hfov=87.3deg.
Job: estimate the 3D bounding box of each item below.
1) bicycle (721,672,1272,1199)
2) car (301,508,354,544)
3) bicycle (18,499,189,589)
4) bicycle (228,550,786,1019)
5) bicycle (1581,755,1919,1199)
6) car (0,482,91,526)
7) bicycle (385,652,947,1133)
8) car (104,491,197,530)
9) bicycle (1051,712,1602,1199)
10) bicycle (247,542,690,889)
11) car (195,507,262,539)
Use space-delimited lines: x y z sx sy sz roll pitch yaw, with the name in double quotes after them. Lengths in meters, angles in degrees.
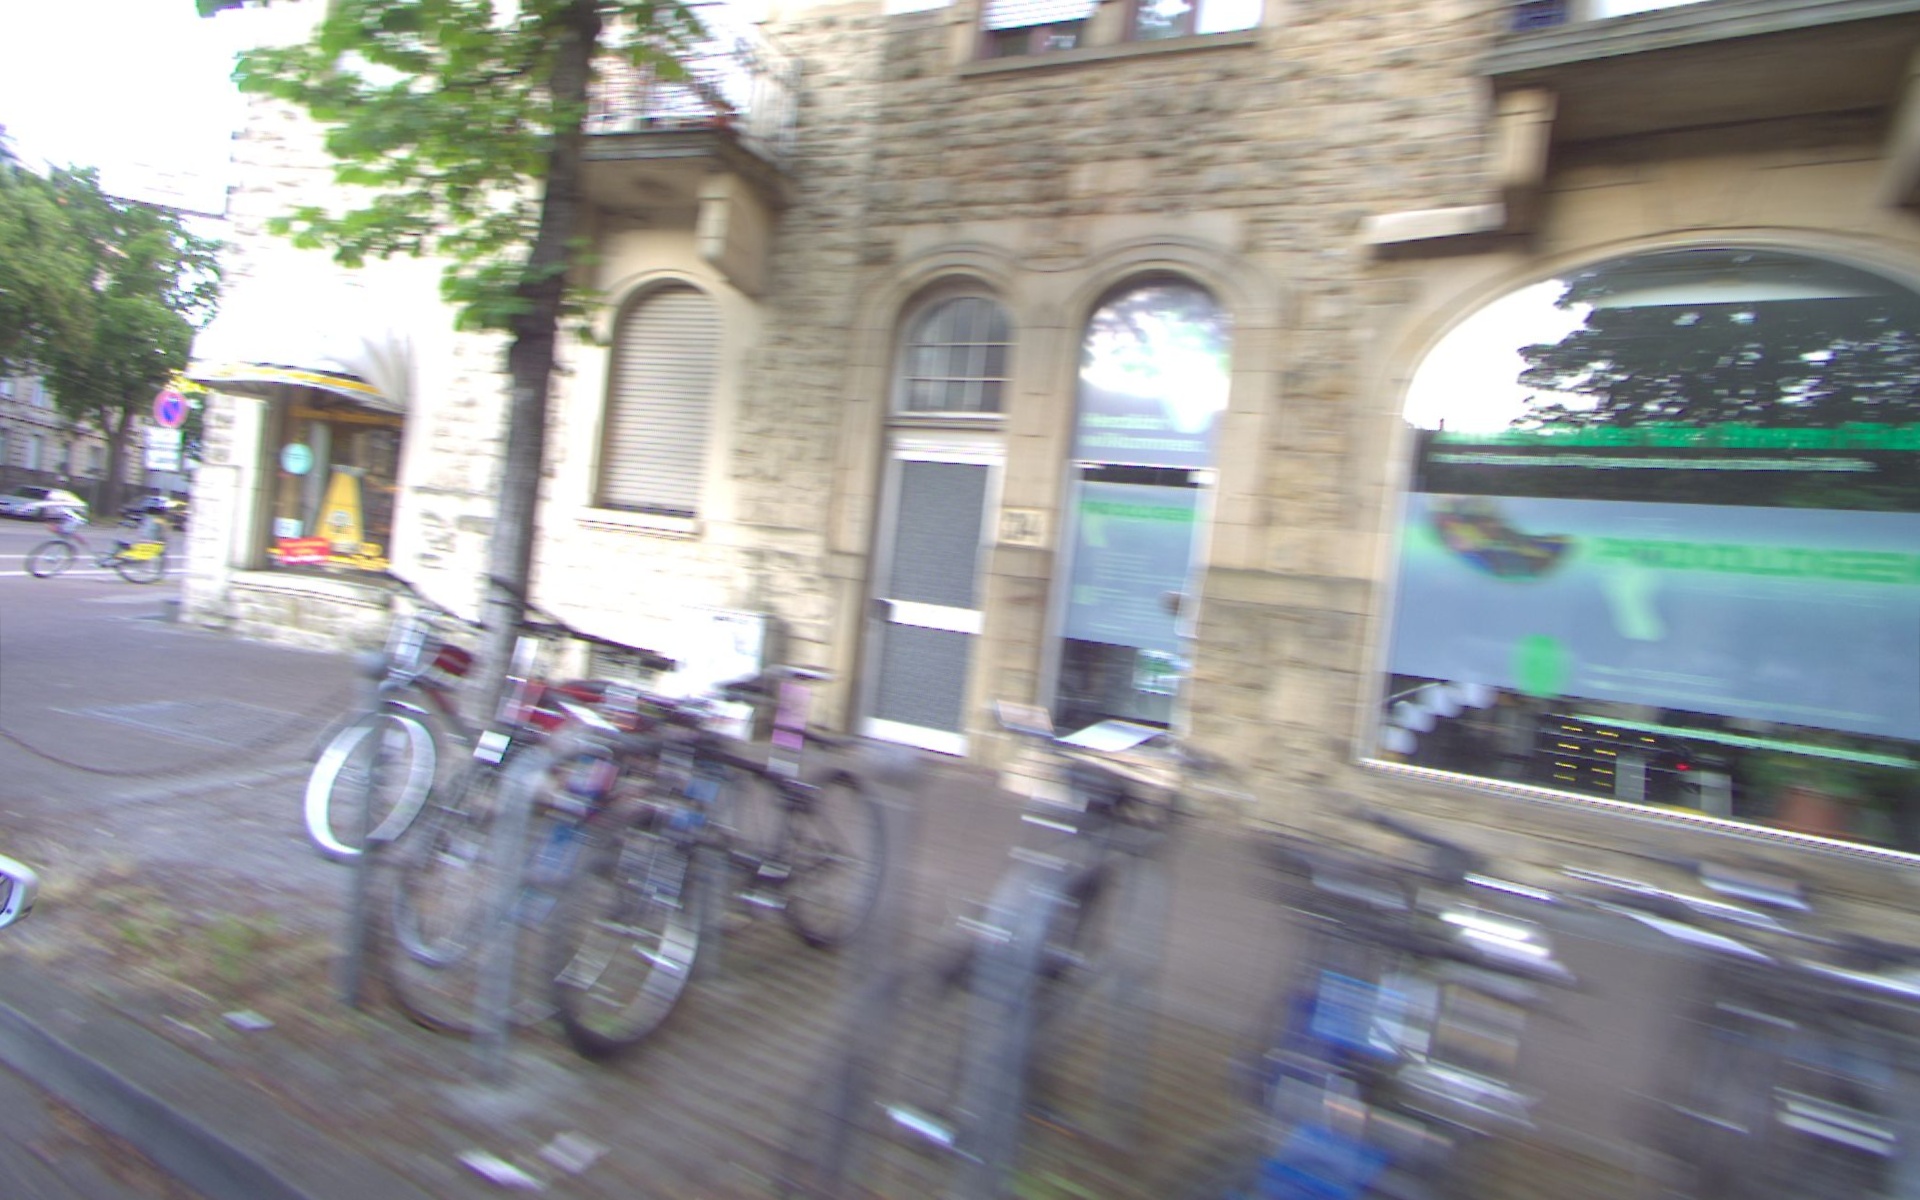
0.274 0.825 2.523 0.629 1.177 1.890 7 0 24 "bicycle"
-49.116 -5.723 78.204 1.919 2.345 4.618 7 0 -14 "car"
-13.317 -0.848 15.694 0.721 1.144 1.871 7 1 38 "bicycle"
-1.506 0.552 3.750 0.687 1.252 1.791 7 1 24 "bicycle"
1.576 0.986 1.831 0.693 1.177 1.886 7 1 34 "bicycle"
-38.881 -4.051 42.068 1.980 1.444 4.615 7 0 -16 "car"
-0.785 0.741 3.327 0.687 1.051 1.805 7 0 24 "bicycle"
-41.682 -4.564 51.936 1.918 1.501 4.158 7 0 -12 "car"
0.951 0.907 2.237 0.630 1.177 1.886 7 1 34 "bicycle"
-2.154 0.467 4.717 0.639 1.252 1.792 7 1 22 "bicycle"
-44.081 -4.627 60.745 1.922 1.500 4.302 7 0 -18 "car"
